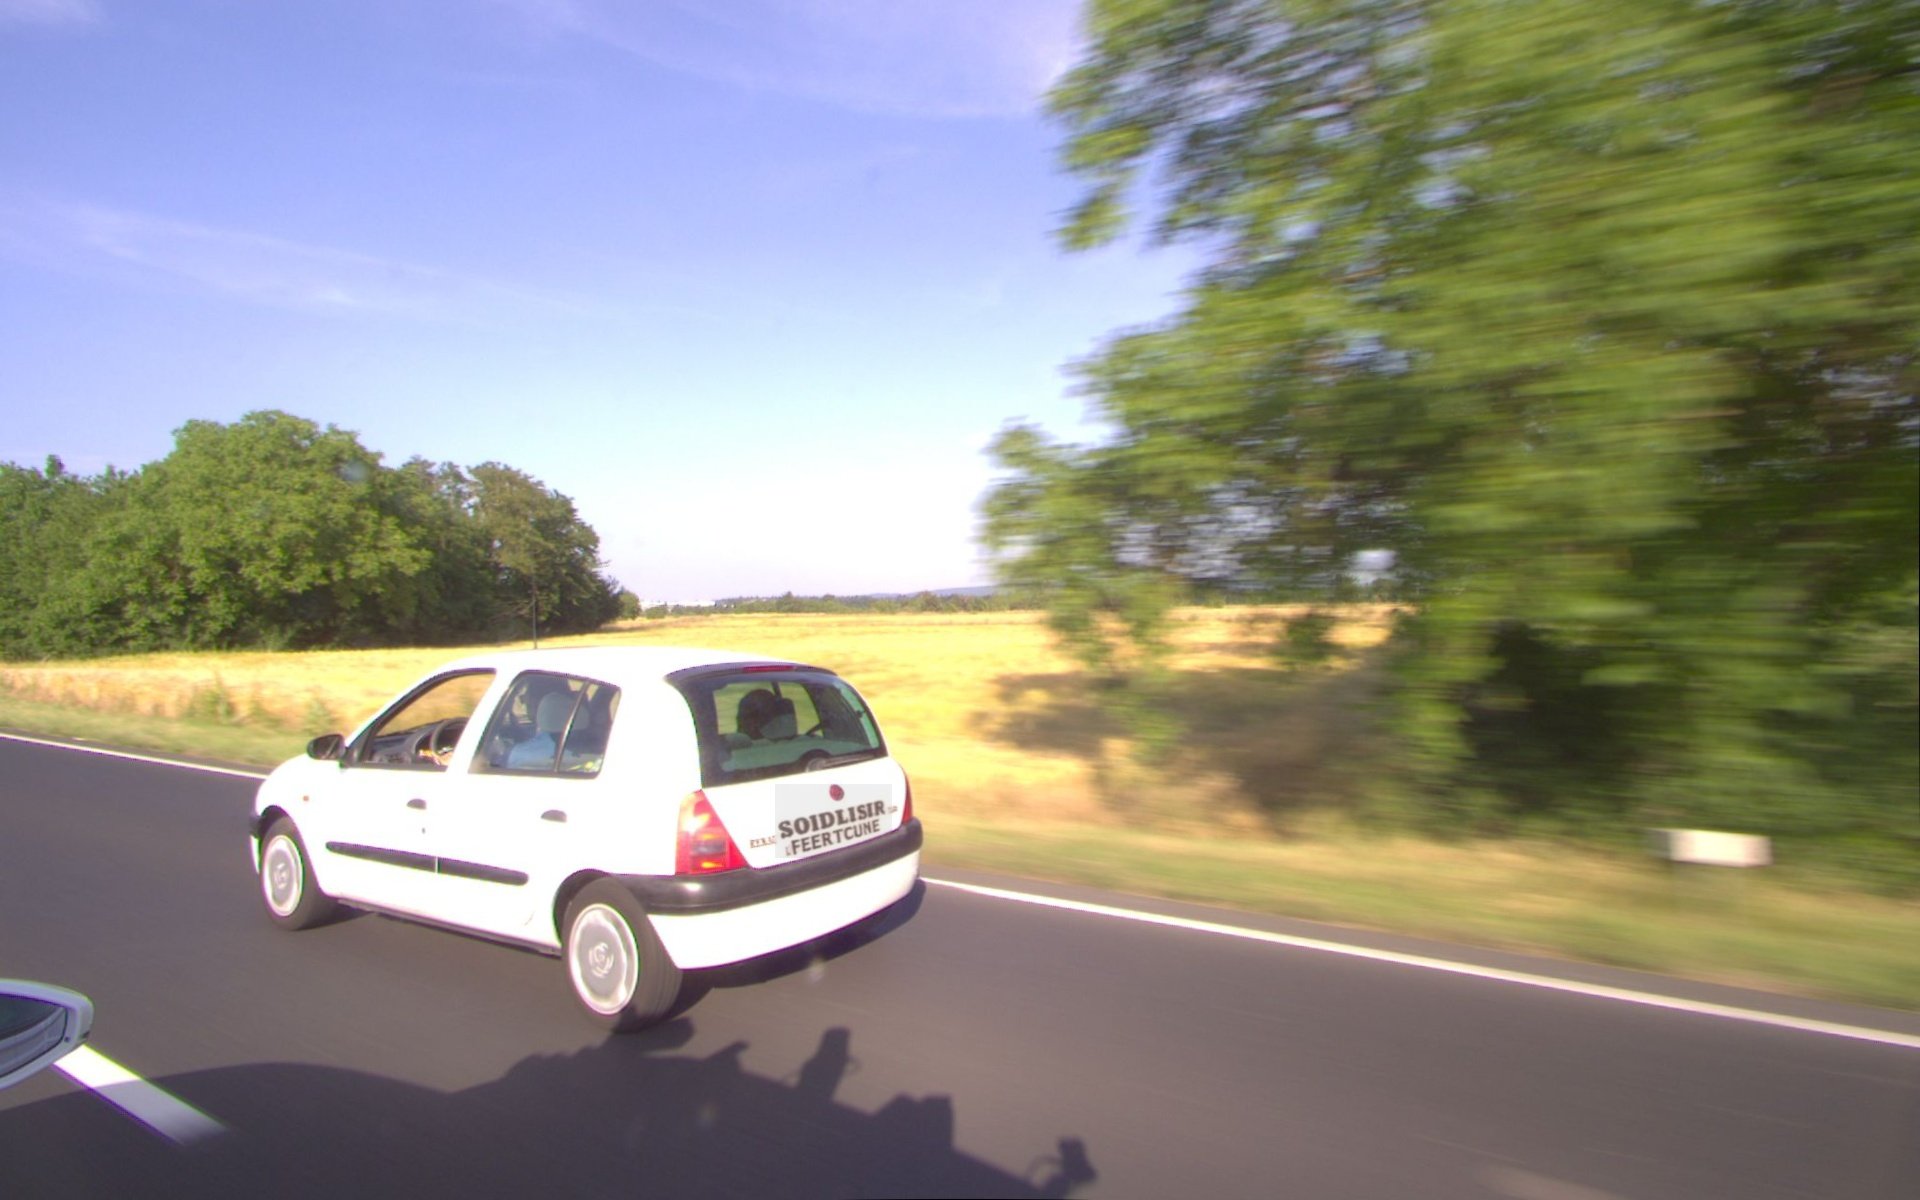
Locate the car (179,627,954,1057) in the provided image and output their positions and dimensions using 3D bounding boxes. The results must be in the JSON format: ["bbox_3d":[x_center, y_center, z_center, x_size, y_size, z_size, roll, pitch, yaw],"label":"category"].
[{"bbox_3d":[-2.109,0.873,5.031,3.895,1.405,1.614,-2,-1,32],"label":"car"}]
